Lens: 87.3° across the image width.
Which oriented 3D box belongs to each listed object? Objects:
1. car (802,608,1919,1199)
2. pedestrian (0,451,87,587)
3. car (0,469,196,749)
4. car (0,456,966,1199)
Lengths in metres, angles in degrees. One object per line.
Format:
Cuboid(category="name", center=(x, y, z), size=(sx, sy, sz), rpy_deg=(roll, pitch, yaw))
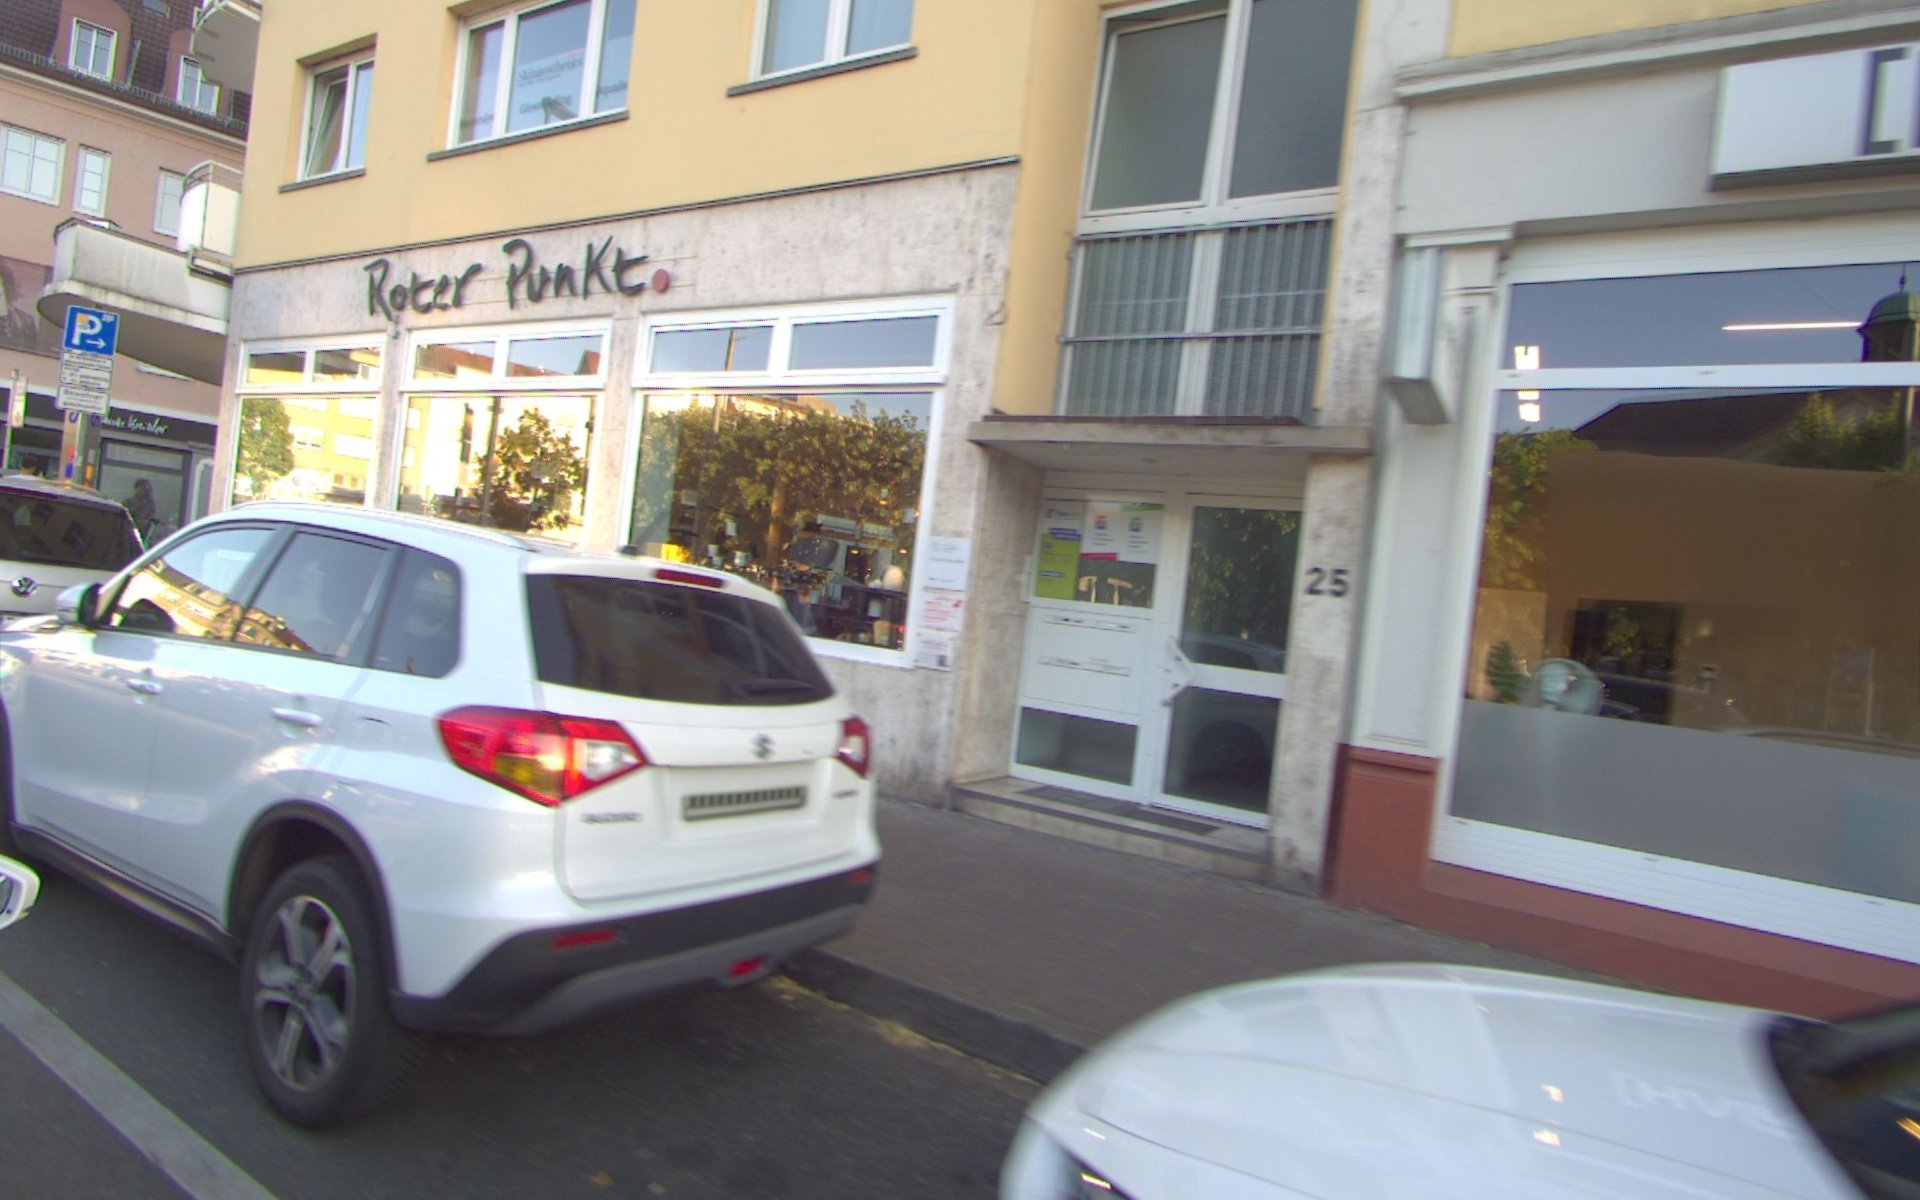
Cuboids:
Cuboid(category="car", center=(2.156, 1.043, 0.842), size=(4.534, 1.474, 1.736), rpy_deg=(7, -1, 32))
Cuboid(category="pedestrian", center=(-13.538, -1.172, 14.590), size=(0.855, 1.839, 0.826), rpy_deg=(7, 0, -1))
Cuboid(category="car", center=(-7.574, -0.171, 7.066), size=(4.602, 1.636, 1.701), rpy_deg=(7, -1, 29))
Cuboid(category="car", center=(-2.284, 0.466, 3.950), size=(4.133, 1.640, 1.820), rpy_deg=(7, -1, 32))
